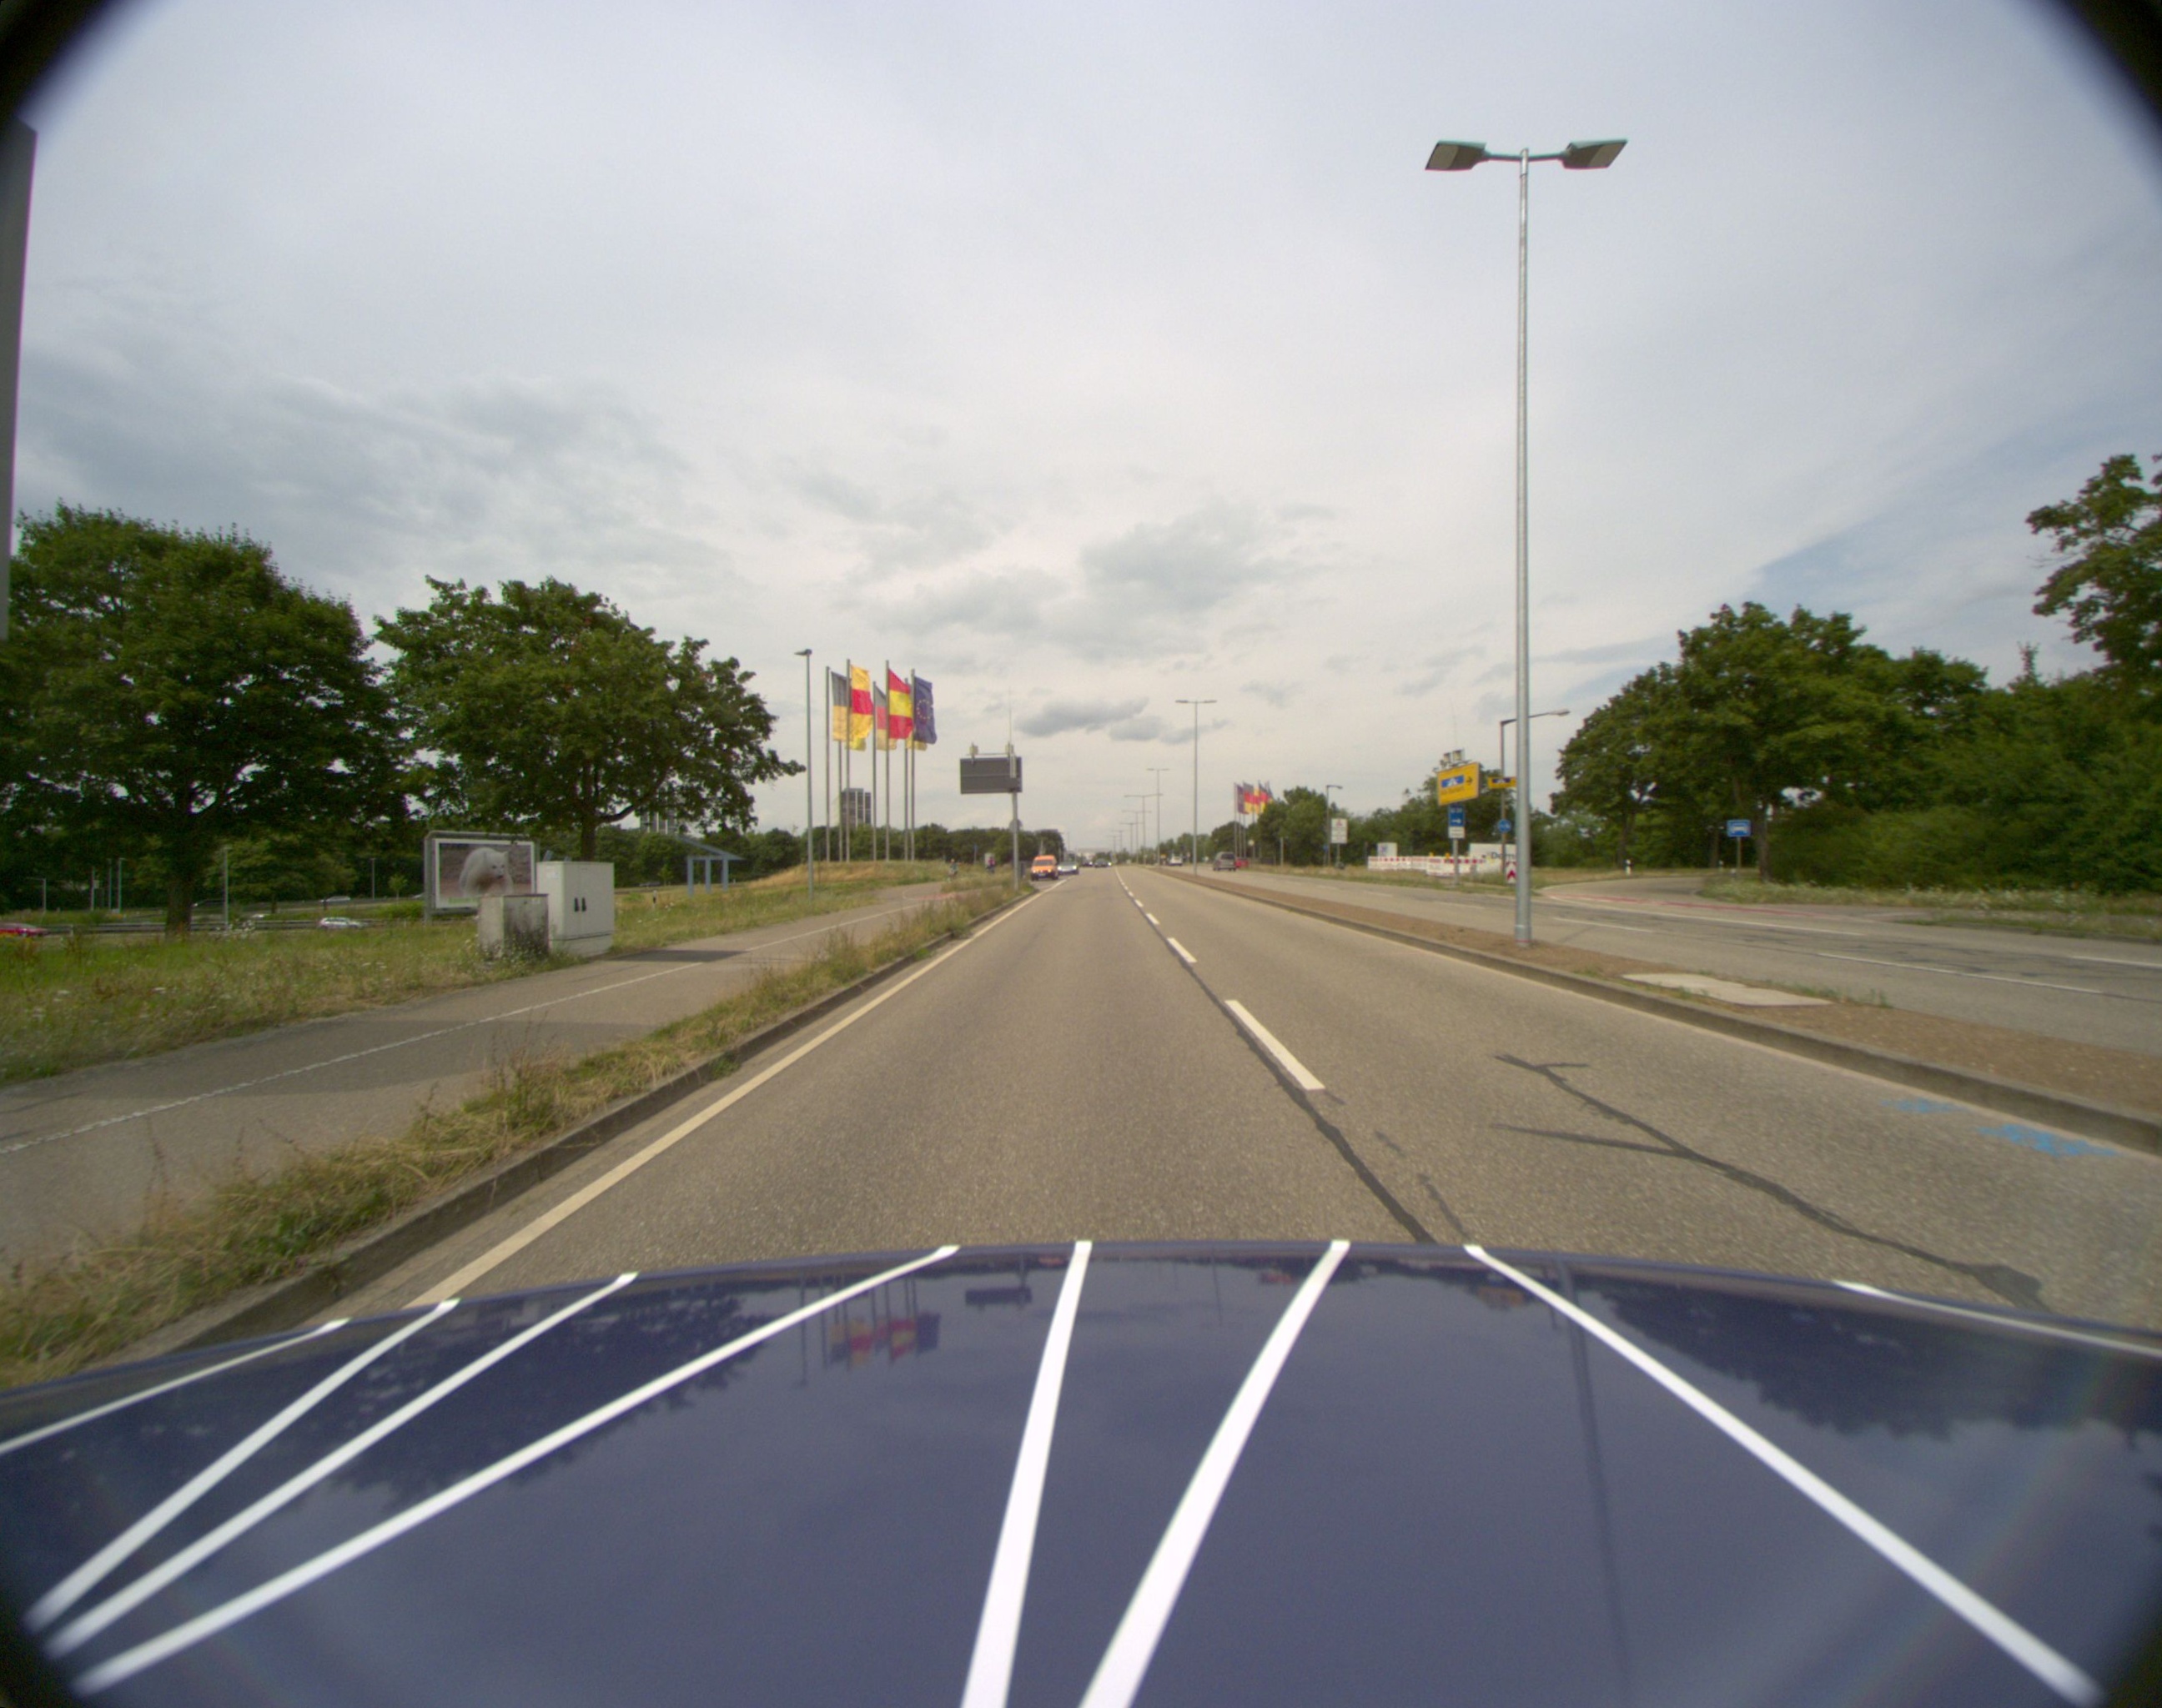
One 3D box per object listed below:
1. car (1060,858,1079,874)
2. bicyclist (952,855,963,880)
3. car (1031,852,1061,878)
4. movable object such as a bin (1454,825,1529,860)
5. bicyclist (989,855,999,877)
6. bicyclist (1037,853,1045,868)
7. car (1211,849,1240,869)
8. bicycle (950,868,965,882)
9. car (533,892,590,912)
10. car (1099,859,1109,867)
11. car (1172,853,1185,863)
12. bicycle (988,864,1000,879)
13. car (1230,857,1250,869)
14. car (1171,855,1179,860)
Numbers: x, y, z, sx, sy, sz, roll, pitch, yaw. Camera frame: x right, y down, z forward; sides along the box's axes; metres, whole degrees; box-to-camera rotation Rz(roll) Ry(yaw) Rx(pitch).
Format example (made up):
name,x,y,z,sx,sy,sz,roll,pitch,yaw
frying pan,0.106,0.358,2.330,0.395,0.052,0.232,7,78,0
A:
name,x,y,z,sx,sy,sz,roll,pitch,yaw
car,-1.102,1.139,71.908,1.695,1.403,3.684,-2,-1,-1
bicyclist,-8.392,0.929,51.696,0.623,1.656,0.669,1,-1,0
car,-2.560,0.840,56.328,1.892,1.824,4.431,-2,-1,0
movable object such as a bin,30.234,-0.840,56.007,4.593,2.382,1.999,-1,-1,-9
bicyclist,-6.981,0.991,61.037,0.705,1.745,0.991,-1,0,0
bicyclist,-4.874,0.744,92.714,0.873,1.792,0.956,-1,3,-5
car,14.031,0.519,73.895,1.907,1.798,4.540,-1,-1,1
bicycle,-8.391,1.438,51.698,0.625,0.883,2.154,-1,0,0
car,-58.814,5.385,86.133,5.260,2.001,1.995,-1,-1,-35
car,3.855,1.546,127.138,1.558,1.229,3.470,-2,-1,0
car,16.568,0.756,129.057,1.698,1.619,4.385,-1,-1,2
bicycle,-6.973,1.416,60.926,0.695,1.185,2.461,-1,-1,0
car,19.187,1.103,91.783,1.758,1.314,4.348,-1,-1,3
car,24.423,0.840,196.999,1.998,1.365,4.579,0,0,5
